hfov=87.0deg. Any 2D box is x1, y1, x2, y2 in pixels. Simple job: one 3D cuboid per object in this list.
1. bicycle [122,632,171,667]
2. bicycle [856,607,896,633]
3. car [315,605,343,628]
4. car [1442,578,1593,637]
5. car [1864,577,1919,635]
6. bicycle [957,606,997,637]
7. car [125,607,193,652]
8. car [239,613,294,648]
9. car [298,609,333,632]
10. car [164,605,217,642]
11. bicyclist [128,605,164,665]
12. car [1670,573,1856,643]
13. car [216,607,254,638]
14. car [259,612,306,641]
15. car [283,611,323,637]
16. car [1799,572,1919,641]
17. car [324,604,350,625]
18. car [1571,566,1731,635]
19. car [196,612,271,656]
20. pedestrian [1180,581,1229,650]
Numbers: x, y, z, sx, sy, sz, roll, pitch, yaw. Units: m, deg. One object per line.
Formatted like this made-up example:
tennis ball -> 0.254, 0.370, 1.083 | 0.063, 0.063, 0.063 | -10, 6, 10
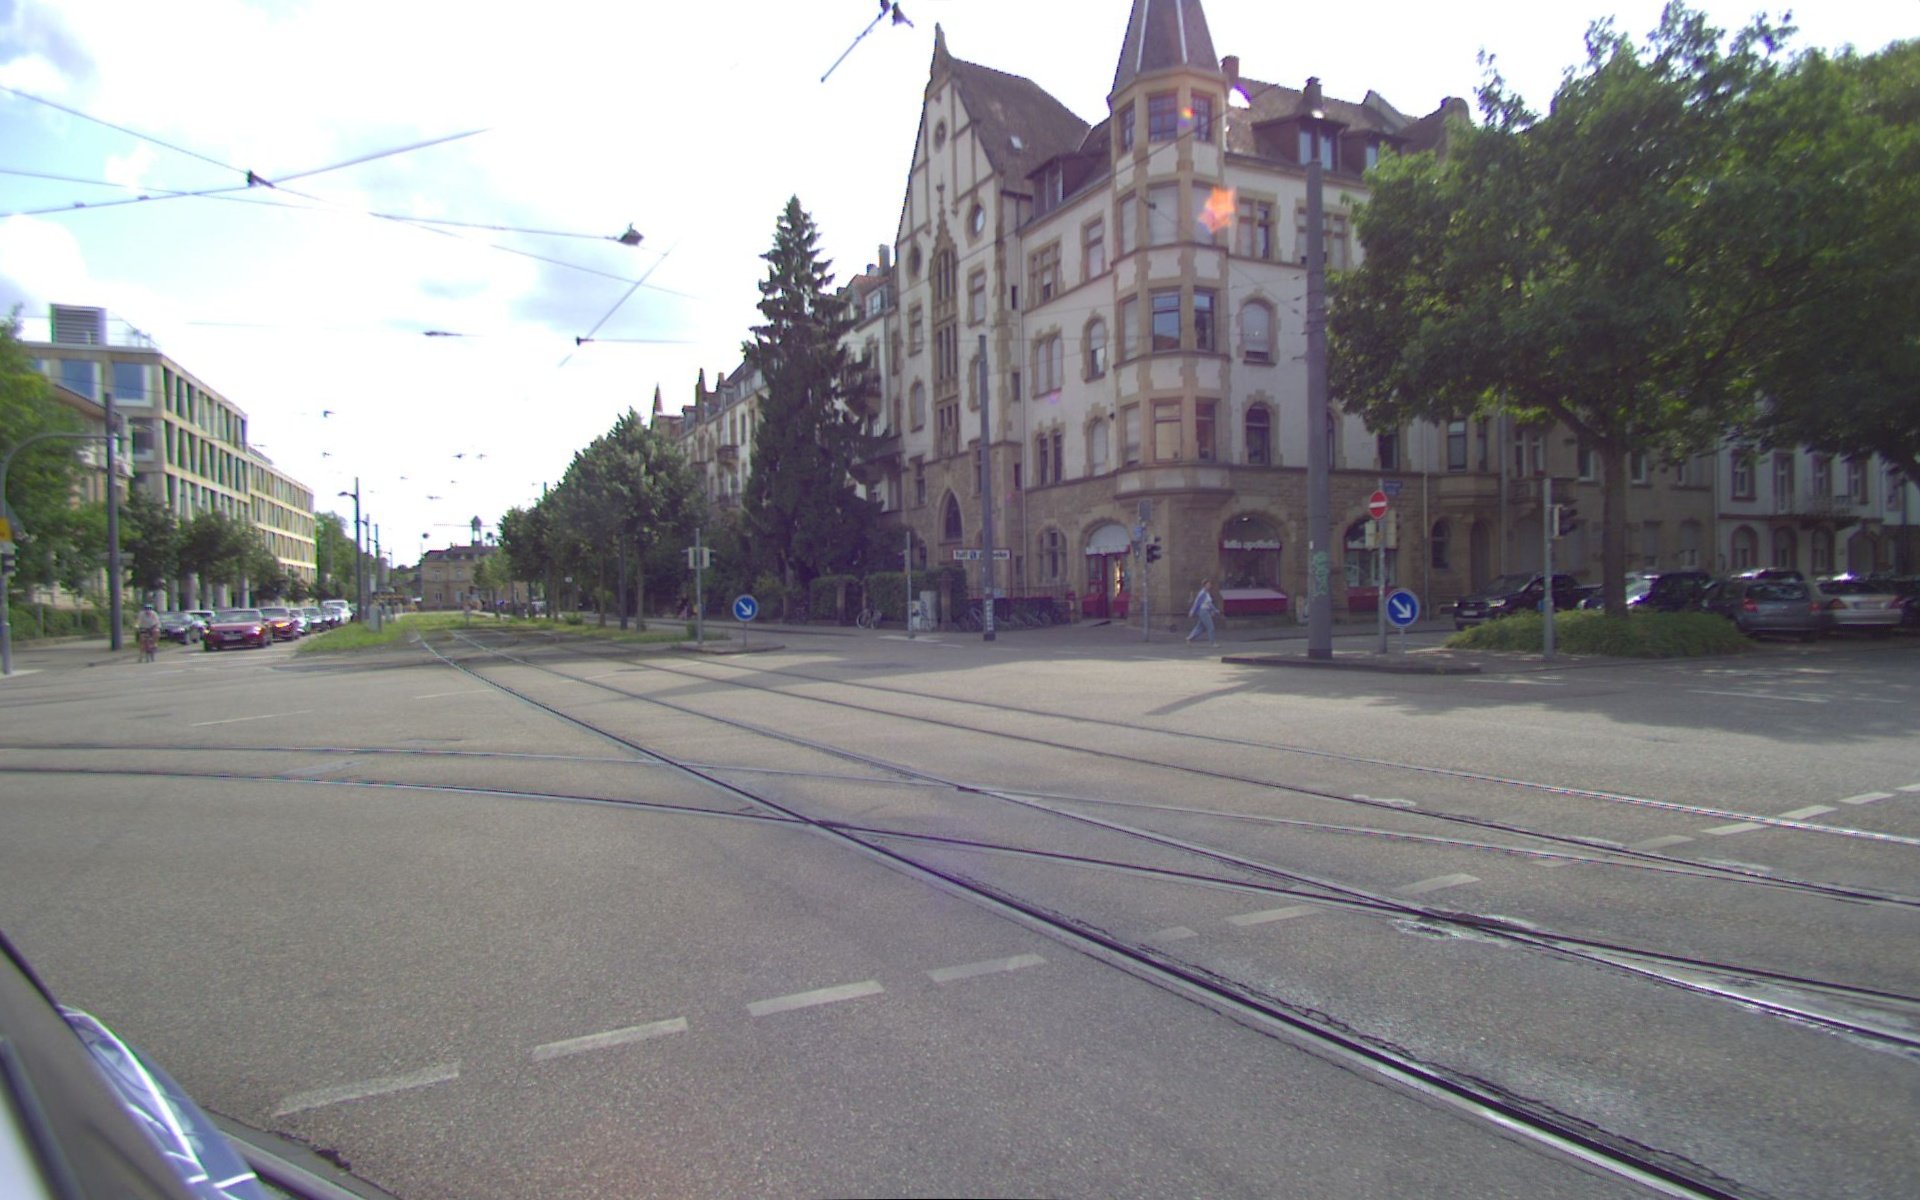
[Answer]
bicycle -> -23.520, 1.419, 29.287 | 0.759, 0.897, 1.898 | -1, 0, -28
bicycle -> -3.325, 0.765, 39.933 | 0.615, 0.979, 2.343 | -1, 0, -30
car -> -45.836, 1.198, 73.596 | 1.554, 1.570, 4.012 | -1, 0, -30
car -> 16.931, 0.199, 30.717 | 4.193, 1.697, 2.006 | -1, 0, -28
car -> 24.678, 0.133, 25.853 | 1.618, 1.408, 3.534 | 0, 1, 29
bicycle -> 0.575, 0.731, 34.859 | 0.581, 0.979, 1.634 | -1, 2, -30
car -> -33.530, 1.202, 42.468 | 1.967, 1.753, 4.010 | -1, 0, -35
car -> -29.207, 1.253, 42.711 | 1.593, 1.282, 4.012 | -3, 1, -30
car -> -39.569, 1.251, 62.180 | 1.593, 1.282, 4.012 | -3, 1, -30
car -> -37.747, 1.132, 49.696 | 1.806, 1.696, 4.011 | -1, 0, -34
bicyclist -> -23.549, 0.996, 29.282 | 0.655, 1.702, 0.860 | -1, 0, -28
car -> 19.519, 0.175, 24.869 | 1.981, 1.557, 4.208 | -1, 0, 15
car -> -42.348, 1.284, 59.188 | 1.714, 1.696, 4.010 | -1, 0, -35
car -> -33.291, 1.287, 49.790 | 1.593, 1.282, 4.012 | -3, 1, -30
car -> -36.396, 1.320, 56.098 | 1.593, 1.282, 4.012 | -3, 1, -30
car -> 22.098, 0.138, 24.868 | 1.641, 1.557, 3.694 | -1, 0, 30
car -> -49.983, 1.134, 81.268 | 1.619, 1.631, 3.724 | -1, 0, -30
car -> 19.678, 0.000, 28.839 | 3.930, 1.835, 2.007 | 0, 0, -25
car -> -25.918, 1.183, 36.215 | 1.713, 1.331, 4.012 | -4, 2, -30
pedestrian -> 6.321, 0.388, 26.148 | 0.758, 1.753, 0.936 | -1, 0, -45
